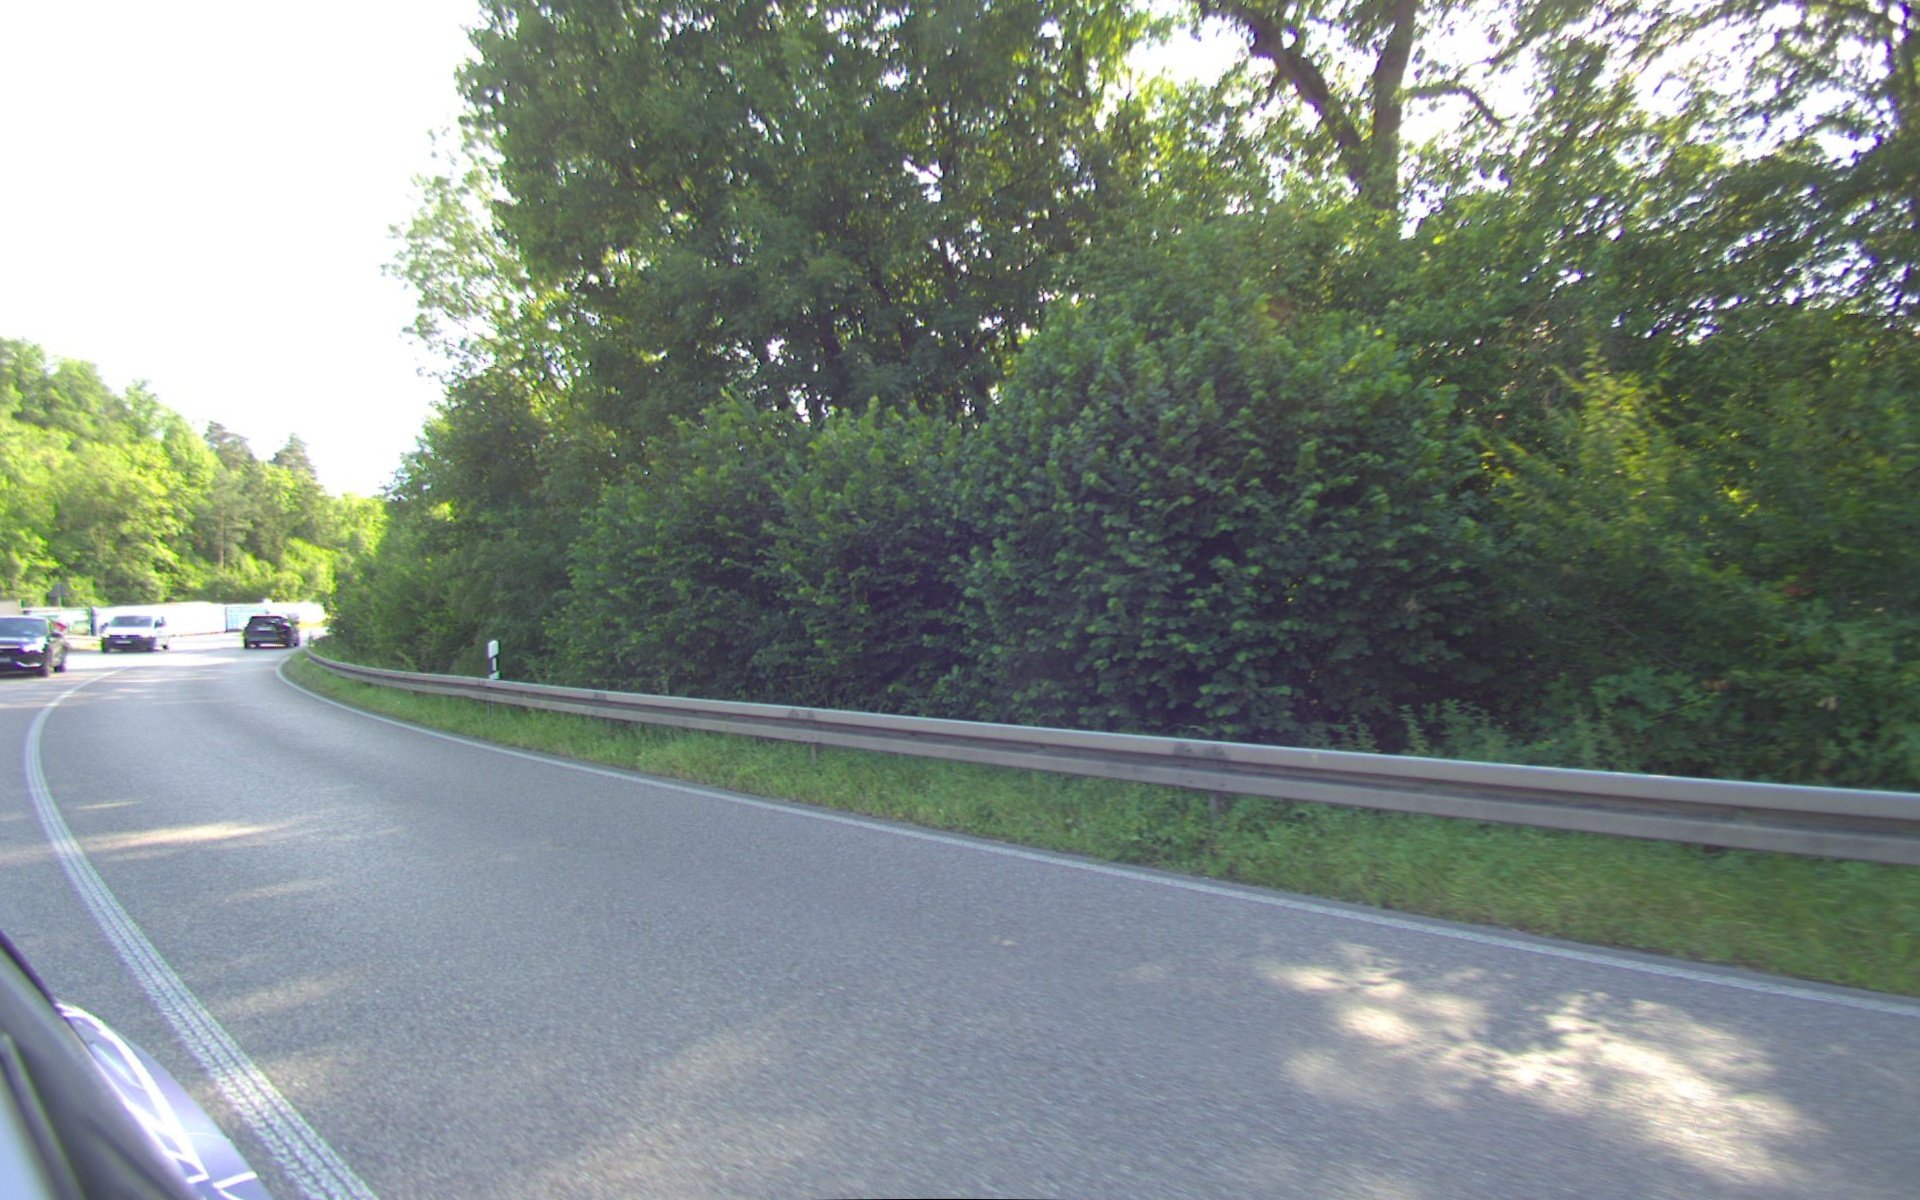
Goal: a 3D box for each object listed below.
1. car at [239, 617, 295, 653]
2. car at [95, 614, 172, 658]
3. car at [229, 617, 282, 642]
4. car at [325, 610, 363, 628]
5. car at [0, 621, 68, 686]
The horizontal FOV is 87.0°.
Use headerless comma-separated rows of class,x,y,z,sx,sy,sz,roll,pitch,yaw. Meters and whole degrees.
car,-33.710,1.696,49.340,1.841,1.666,4.563,1,-2,-29
car,-36.027,1.518,44.234,1.837,1.733,4.778,0,0,-29
car,-46.536,1.924,66.966,1.865,1.456,4.491,-3,1,-22
car,-53.990,1.635,88.790,1.829,1.431,4.433,-3,1,-18
car,-25.525,1.390,27.136,1.819,1.581,4.269,0,0,-33
